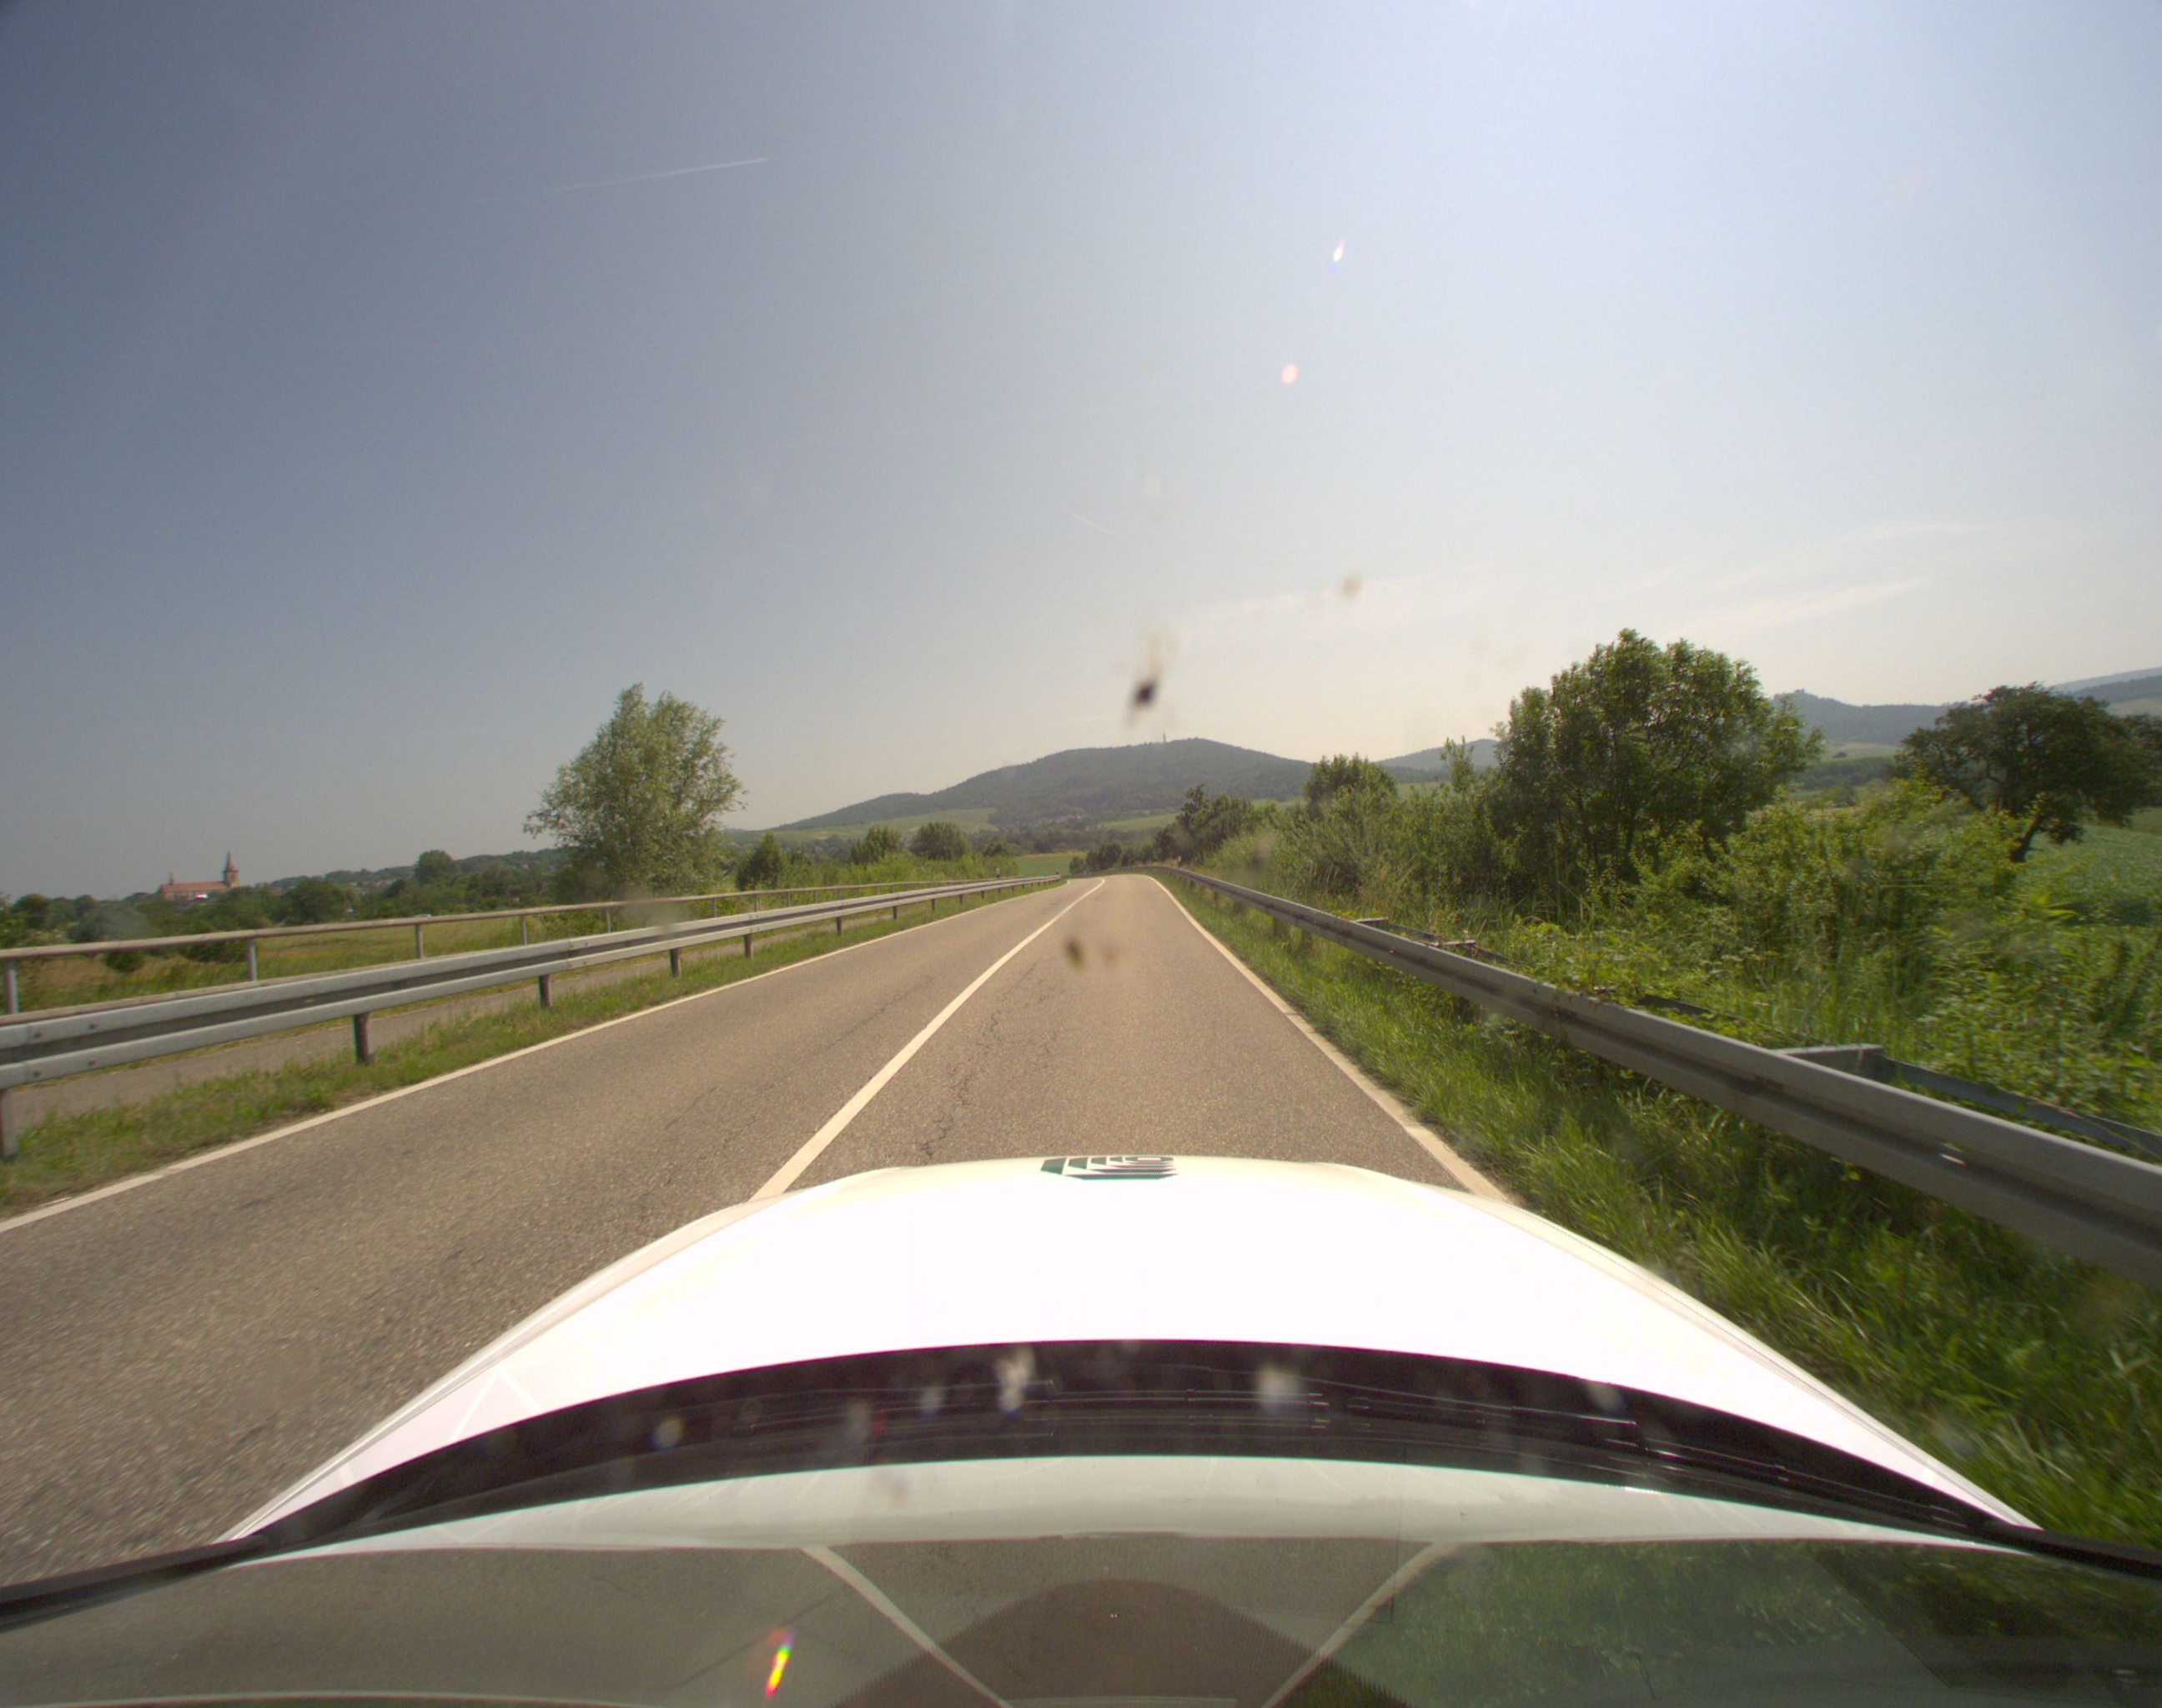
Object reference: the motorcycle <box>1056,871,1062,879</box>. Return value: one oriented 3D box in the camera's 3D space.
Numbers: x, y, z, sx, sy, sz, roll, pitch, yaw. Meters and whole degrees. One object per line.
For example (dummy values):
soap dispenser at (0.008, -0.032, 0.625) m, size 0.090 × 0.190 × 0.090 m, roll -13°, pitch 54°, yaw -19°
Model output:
motorcycle at (-3.369, 3.168, 124.078) m, size 0.641 × 1.223 × 1.636 m, roll -7°, pitch -1°, yaw -3°
